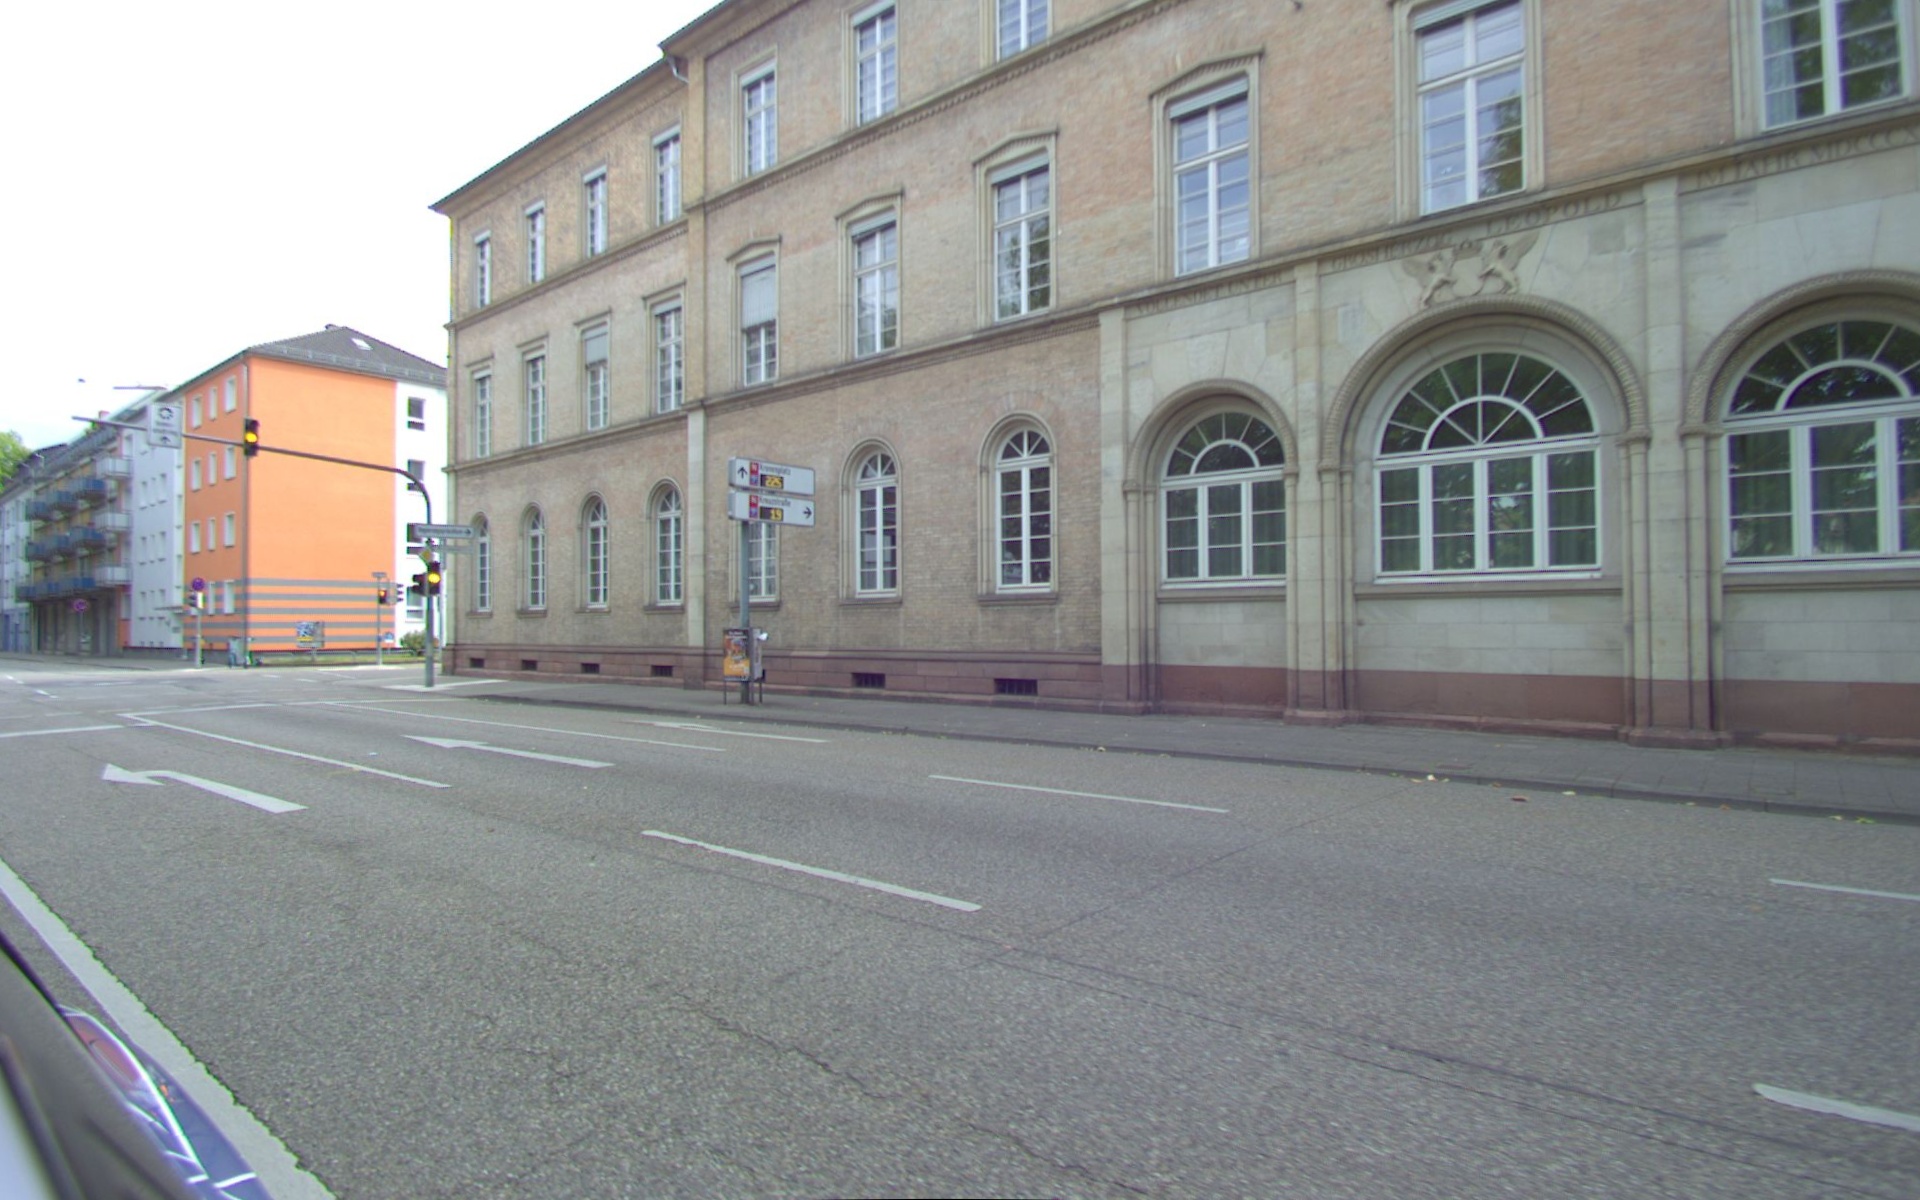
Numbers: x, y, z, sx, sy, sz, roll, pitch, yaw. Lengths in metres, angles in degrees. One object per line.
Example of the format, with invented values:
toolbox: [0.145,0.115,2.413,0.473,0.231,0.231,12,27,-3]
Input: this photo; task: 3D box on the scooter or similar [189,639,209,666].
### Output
scooter or similar: [-32.431,2.245,43.119,1.353,1.133,0.364,-2,-1,41]

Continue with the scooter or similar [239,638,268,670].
scooter or similar: [-27.098,2.071,38.811,1.347,1.166,0.327,-2,-1,27]

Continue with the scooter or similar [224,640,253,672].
scooter or similar: [-27.249,2.125,38.216,1.336,1.188,0.327,-2,-1,27]
